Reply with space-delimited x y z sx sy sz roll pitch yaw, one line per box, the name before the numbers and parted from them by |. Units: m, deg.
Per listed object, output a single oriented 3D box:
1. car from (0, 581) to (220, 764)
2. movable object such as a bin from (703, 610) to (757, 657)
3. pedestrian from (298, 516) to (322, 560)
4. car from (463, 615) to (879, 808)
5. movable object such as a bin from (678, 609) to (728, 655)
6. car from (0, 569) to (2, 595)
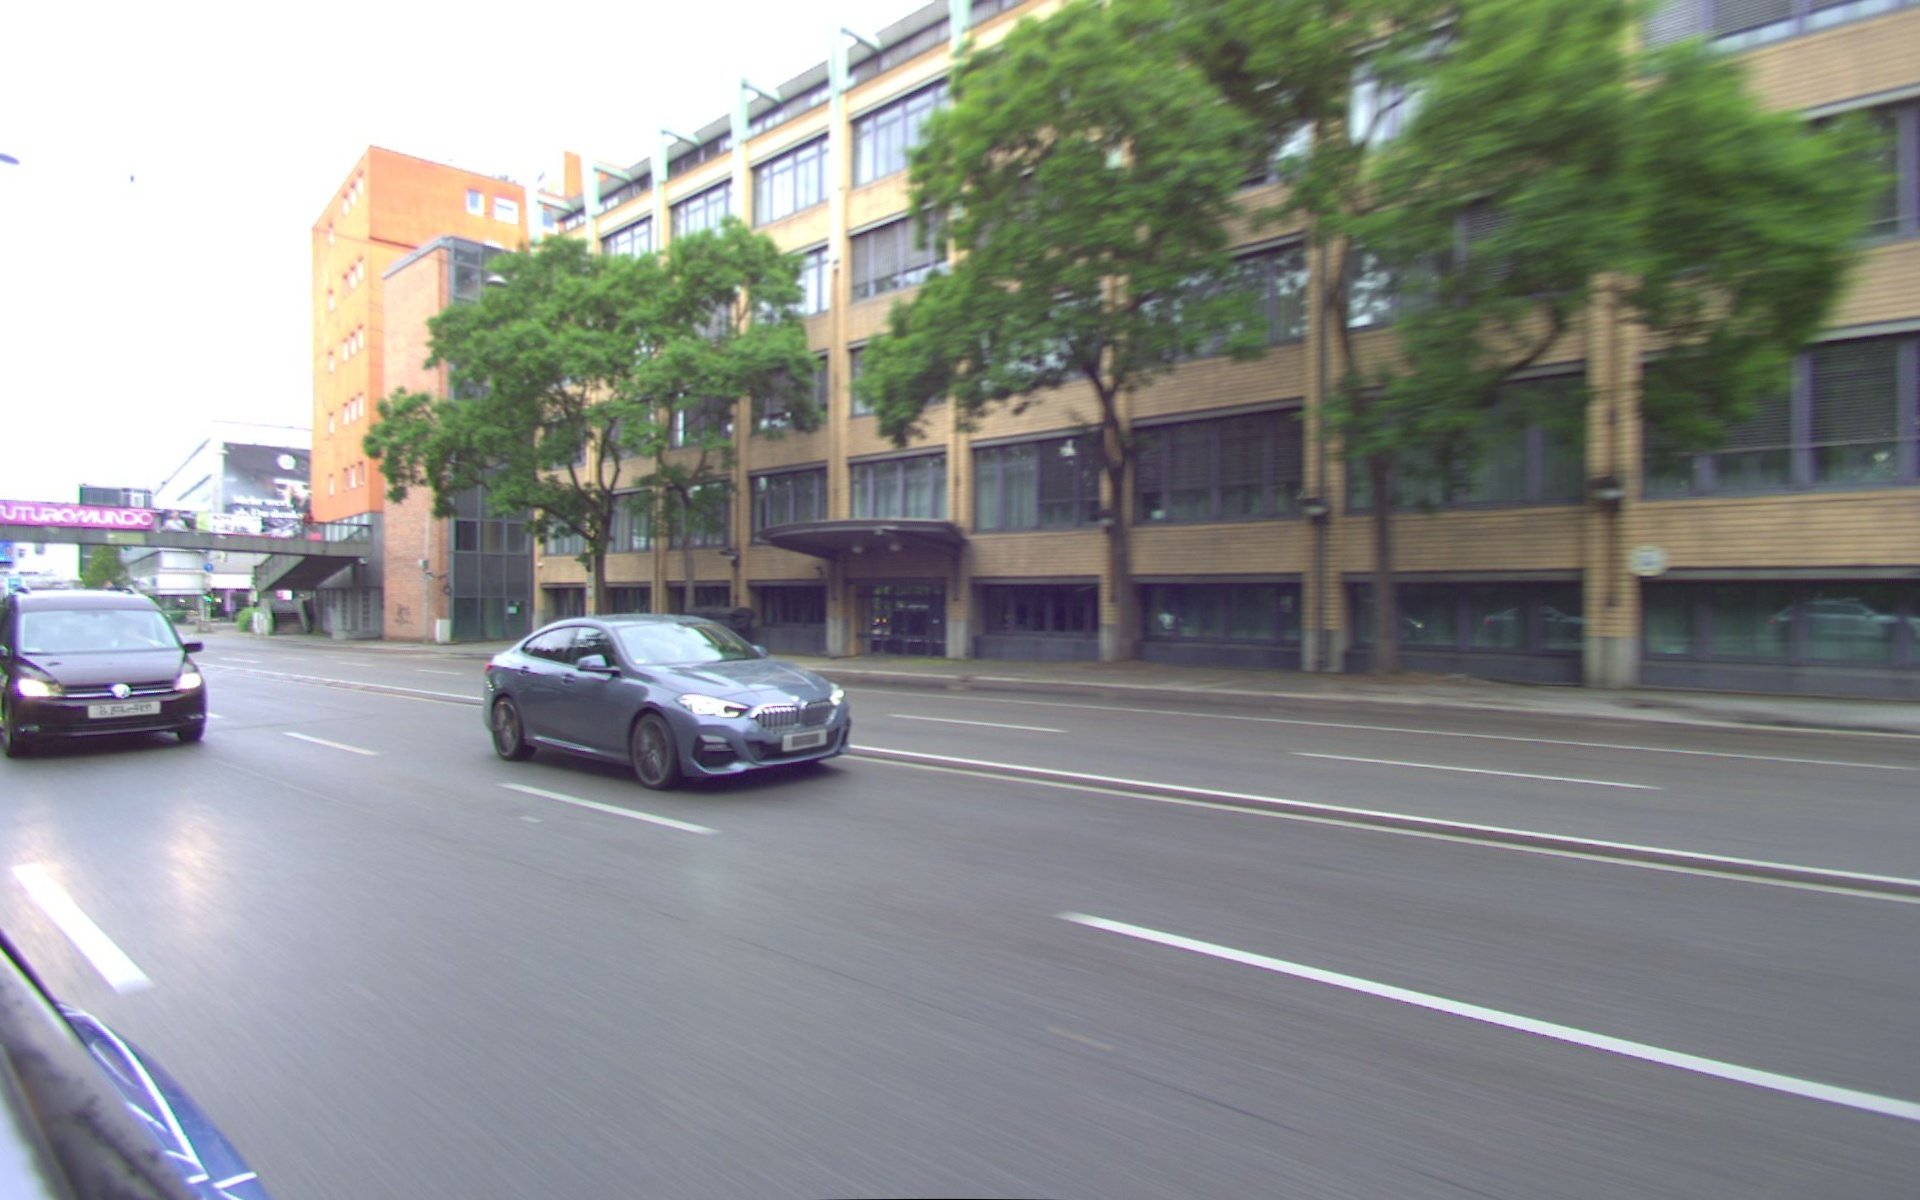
car | -10.375 0.775 12.019 4.000 1.805 1.817 -2 -2 43
movable object such as a bin | -7.479 1.081 32.890 1.370 1.447 1.058 -1 0 37
pedestrian | -34.485 -3.270 53.715 0.737 2.272 0.823 0 -1 35
car | -2.934 0.862 9.632 4.538 1.426 1.647 -1 -1 42
movable object such as a bin | -8.551 1.052 33.717 1.312 1.447 0.964 -1 0 37
car | -62.630 -1.102 64.821 1.798 1.624 4.004 -2 2 -43
